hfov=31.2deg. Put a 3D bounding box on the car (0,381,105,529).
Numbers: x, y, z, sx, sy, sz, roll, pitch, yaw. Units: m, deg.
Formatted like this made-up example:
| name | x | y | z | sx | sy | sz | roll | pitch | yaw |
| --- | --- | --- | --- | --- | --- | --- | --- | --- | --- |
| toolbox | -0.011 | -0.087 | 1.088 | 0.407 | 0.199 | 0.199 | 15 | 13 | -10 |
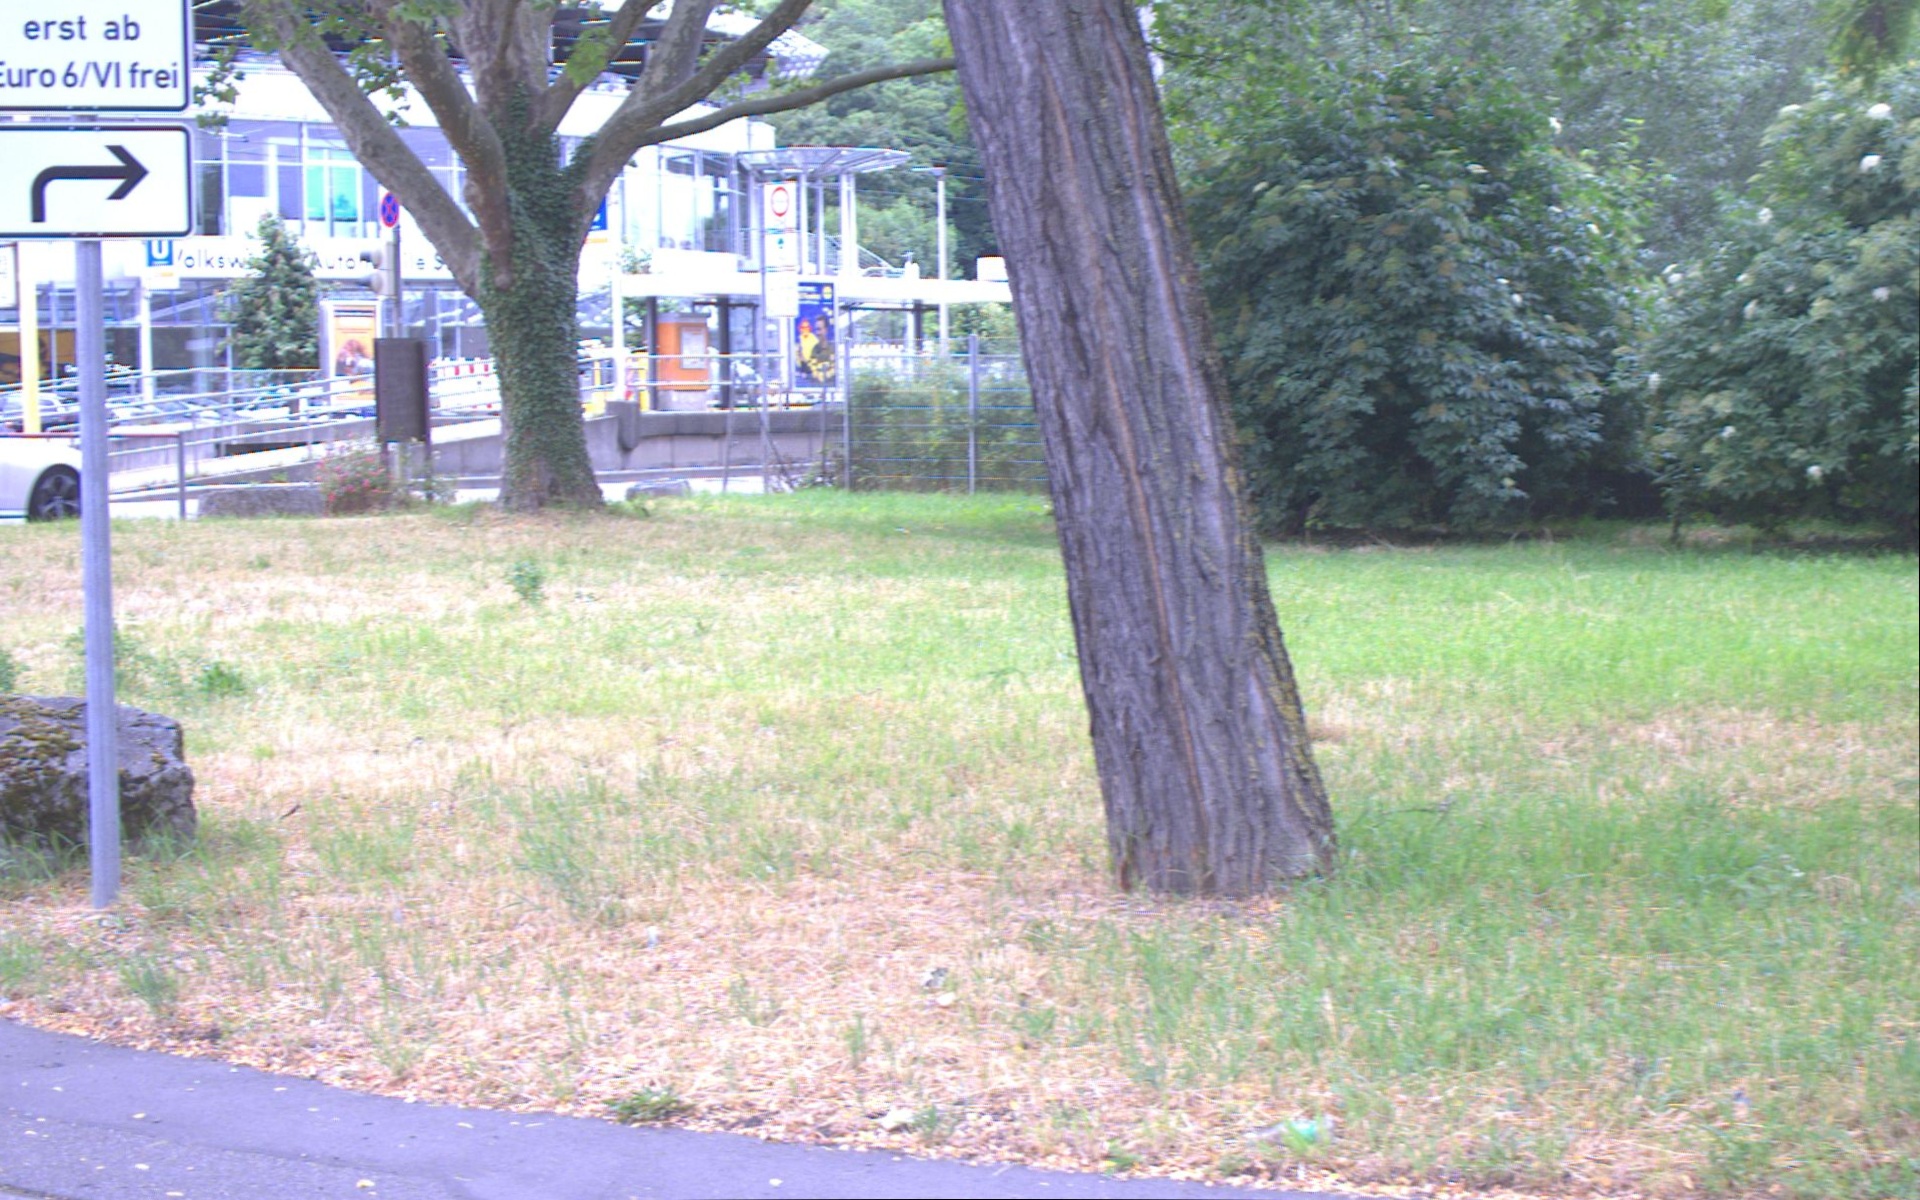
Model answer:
| name | x | y | z | sx | sy | sz | roll | pitch | yaw |
| --- | --- | --- | --- | --- | --- | --- | --- | --- | --- |
| car | -11.226 | -1.449 | 34.847 | 1.803 | 1.502 | 4.887 | 3 | 5 | 38 |
